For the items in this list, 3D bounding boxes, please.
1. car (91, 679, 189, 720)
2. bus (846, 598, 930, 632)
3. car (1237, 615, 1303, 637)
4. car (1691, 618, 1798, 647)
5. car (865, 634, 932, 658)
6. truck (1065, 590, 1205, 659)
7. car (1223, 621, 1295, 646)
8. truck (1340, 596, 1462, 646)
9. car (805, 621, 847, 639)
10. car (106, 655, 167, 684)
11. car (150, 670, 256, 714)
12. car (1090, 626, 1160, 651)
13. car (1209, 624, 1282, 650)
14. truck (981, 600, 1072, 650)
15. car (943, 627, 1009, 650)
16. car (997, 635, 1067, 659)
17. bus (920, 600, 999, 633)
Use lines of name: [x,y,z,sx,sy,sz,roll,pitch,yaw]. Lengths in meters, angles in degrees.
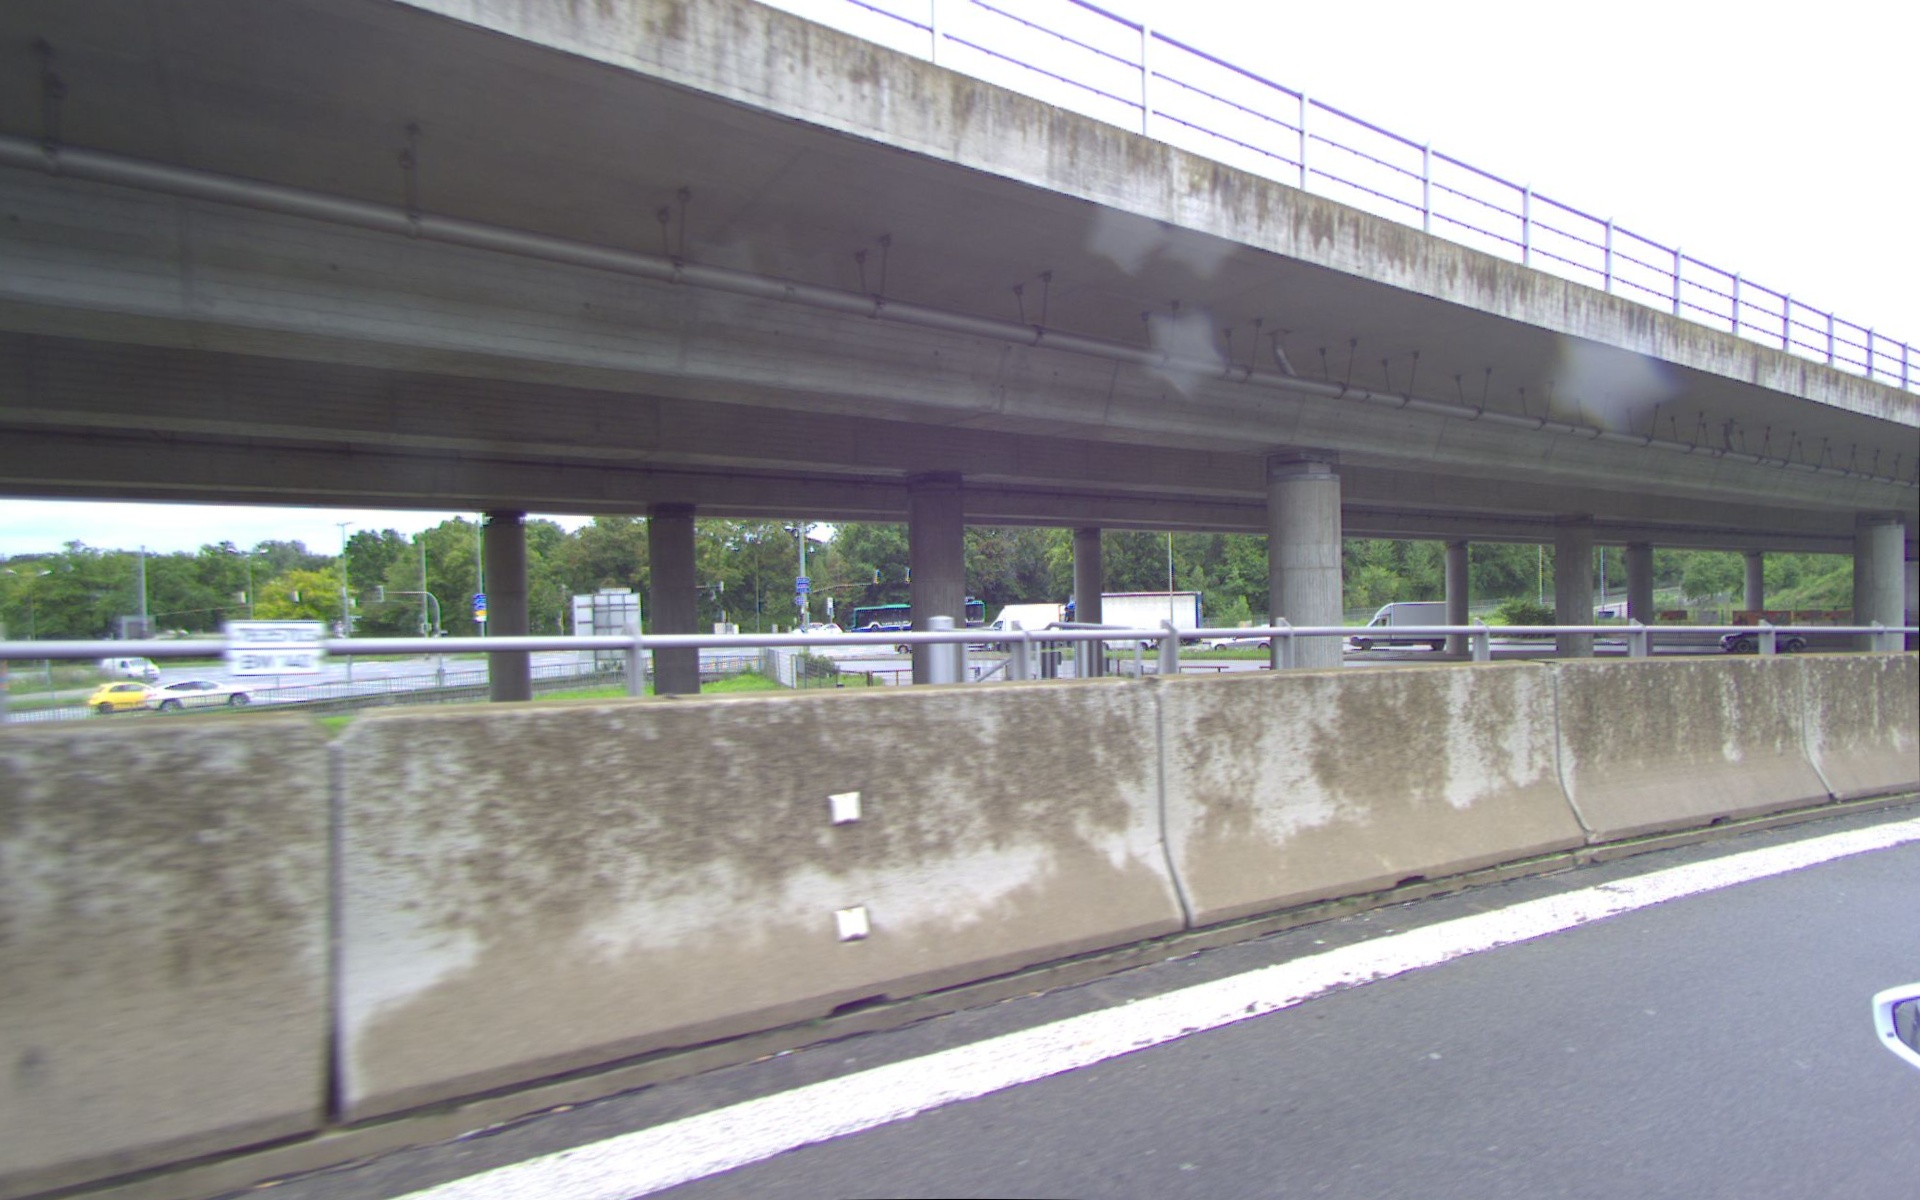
car: [-44.438,5.332,54.473,3.972,1.640,1.824,-2,4,-44]
bus: [-8.260,1.802,115.954,9.801,3.750,2.212,1,1,-32]
car: [22.803,1.894,73.855,4.501,1.604,1.975,0,0,21]
car: [45.802,1.867,58.764,4.499,1.604,1.976,0,0,18]
car: [-4.466,3.357,73.285,4.499,1.627,1.976,0,0,18]
truck: [12.334,1.717,70.875,9.413,4.653,2.799,0,0,20]
car: [20.219,2.227,67.891,4.501,1.604,1.975,0,0,20]
truck: [28.375,1.316,64.980,7.092,3.017,2.260,1,0,21]
car: [-13.503,3.050,101.286,3.969,1.728,1.777,-1,-1,-42]
car: [-66.392,5.571,80.975,4.469,2.040,1.999,0,0,23]
car: [-40.278,4.845,53.508,4.335,1.774,1.786,-2,4,-44]
car: [11.214,2.585,68.153,4.499,1.604,1.976,0,0,18]
car: [18.581,2.388,65.390,4.499,1.604,1.976,0,0,18]
truck: [5.124,1.883,77.164,6.513,3.729,2.799,0,0,20]
car: [1.192,2.866,74.691,4.499,1.627,1.976,0,0,18]
car: [5.014,3.256,69.859,4.500,1.604,1.976,0,0,18]
bus: [0.059,1.987,121.127,9.801,3.750,2.212,1,1,-32]
